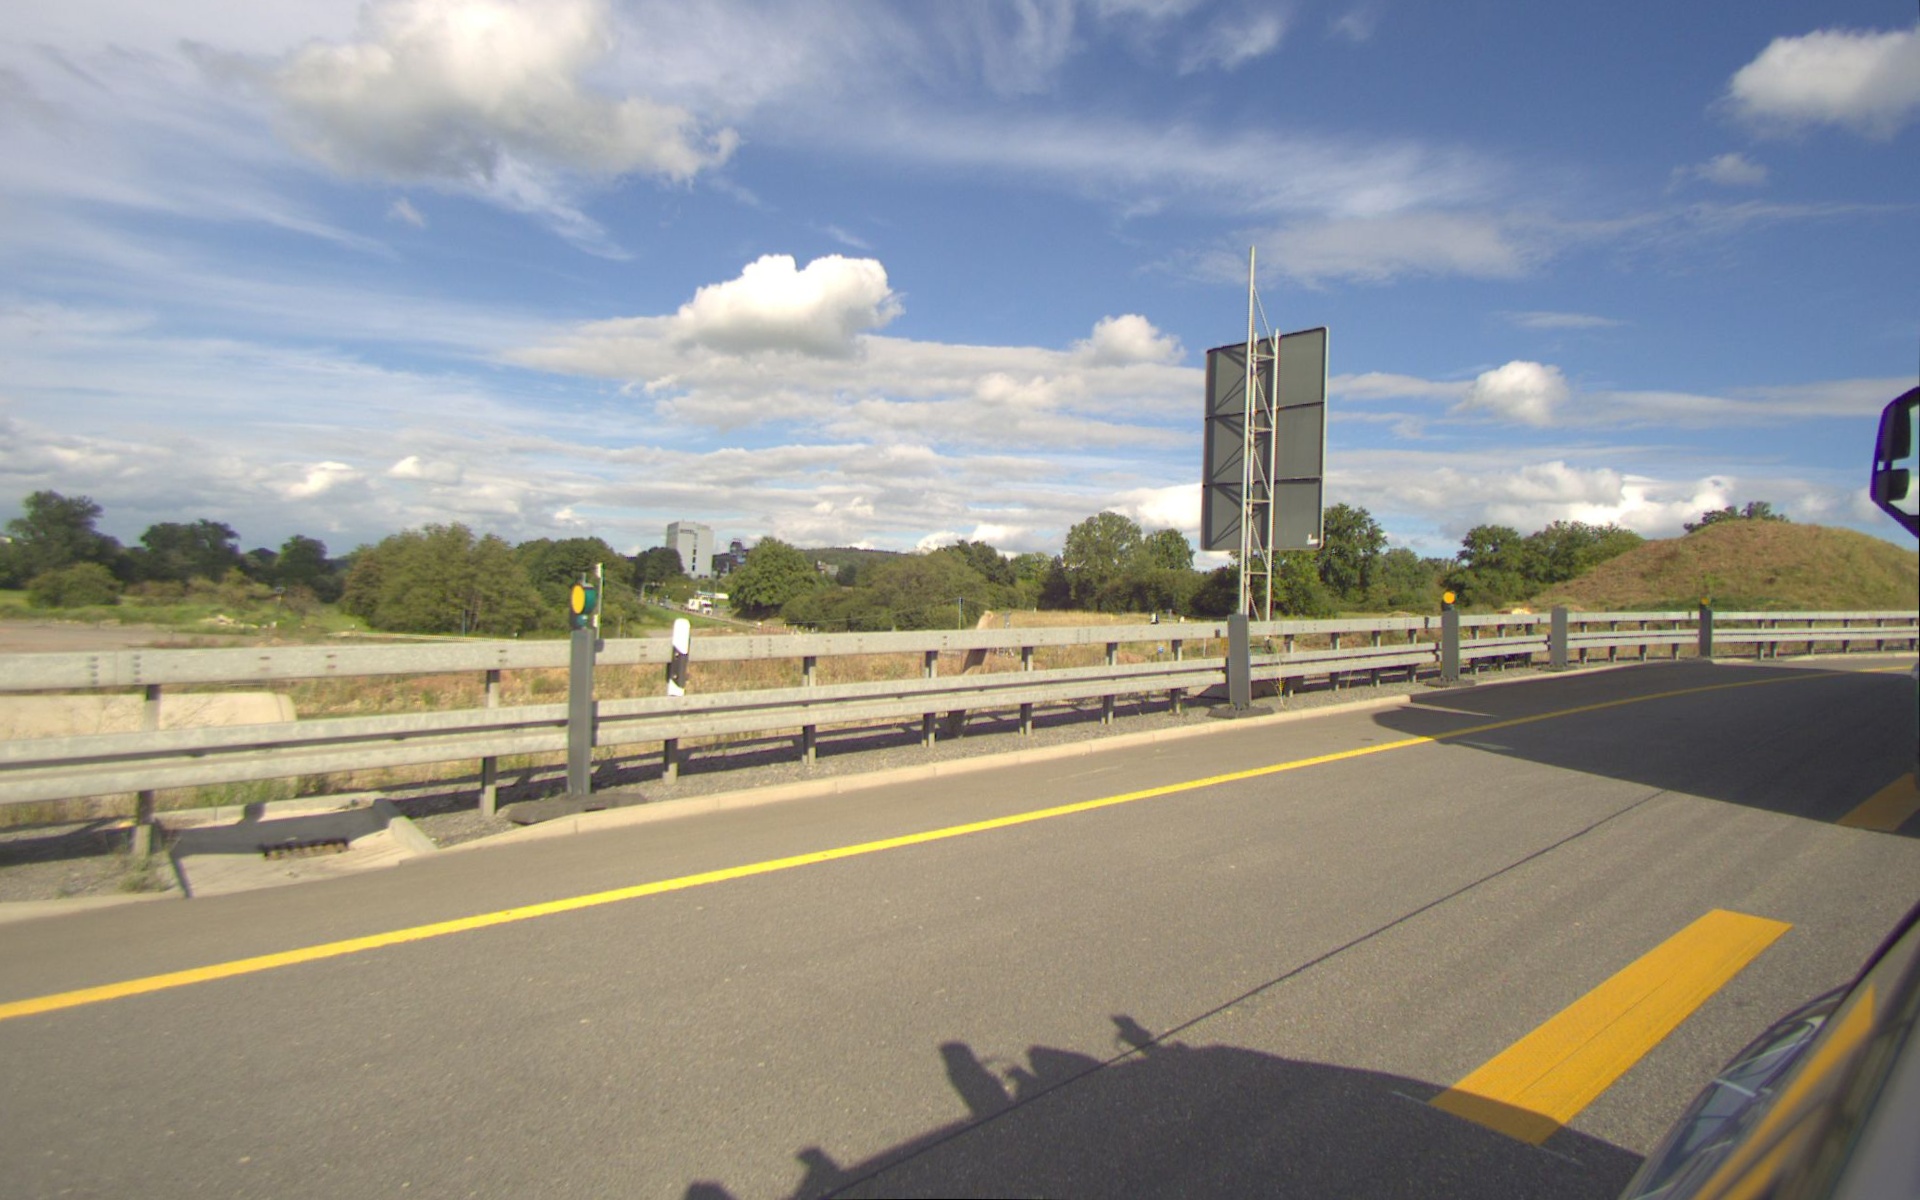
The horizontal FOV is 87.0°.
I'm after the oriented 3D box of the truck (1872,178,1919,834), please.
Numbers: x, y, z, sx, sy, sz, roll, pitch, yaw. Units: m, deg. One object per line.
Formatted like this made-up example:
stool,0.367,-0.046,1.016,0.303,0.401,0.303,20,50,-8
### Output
truck,10.307,-0.661,8.392,10.135,3.896,2.662,-1,1,-40
